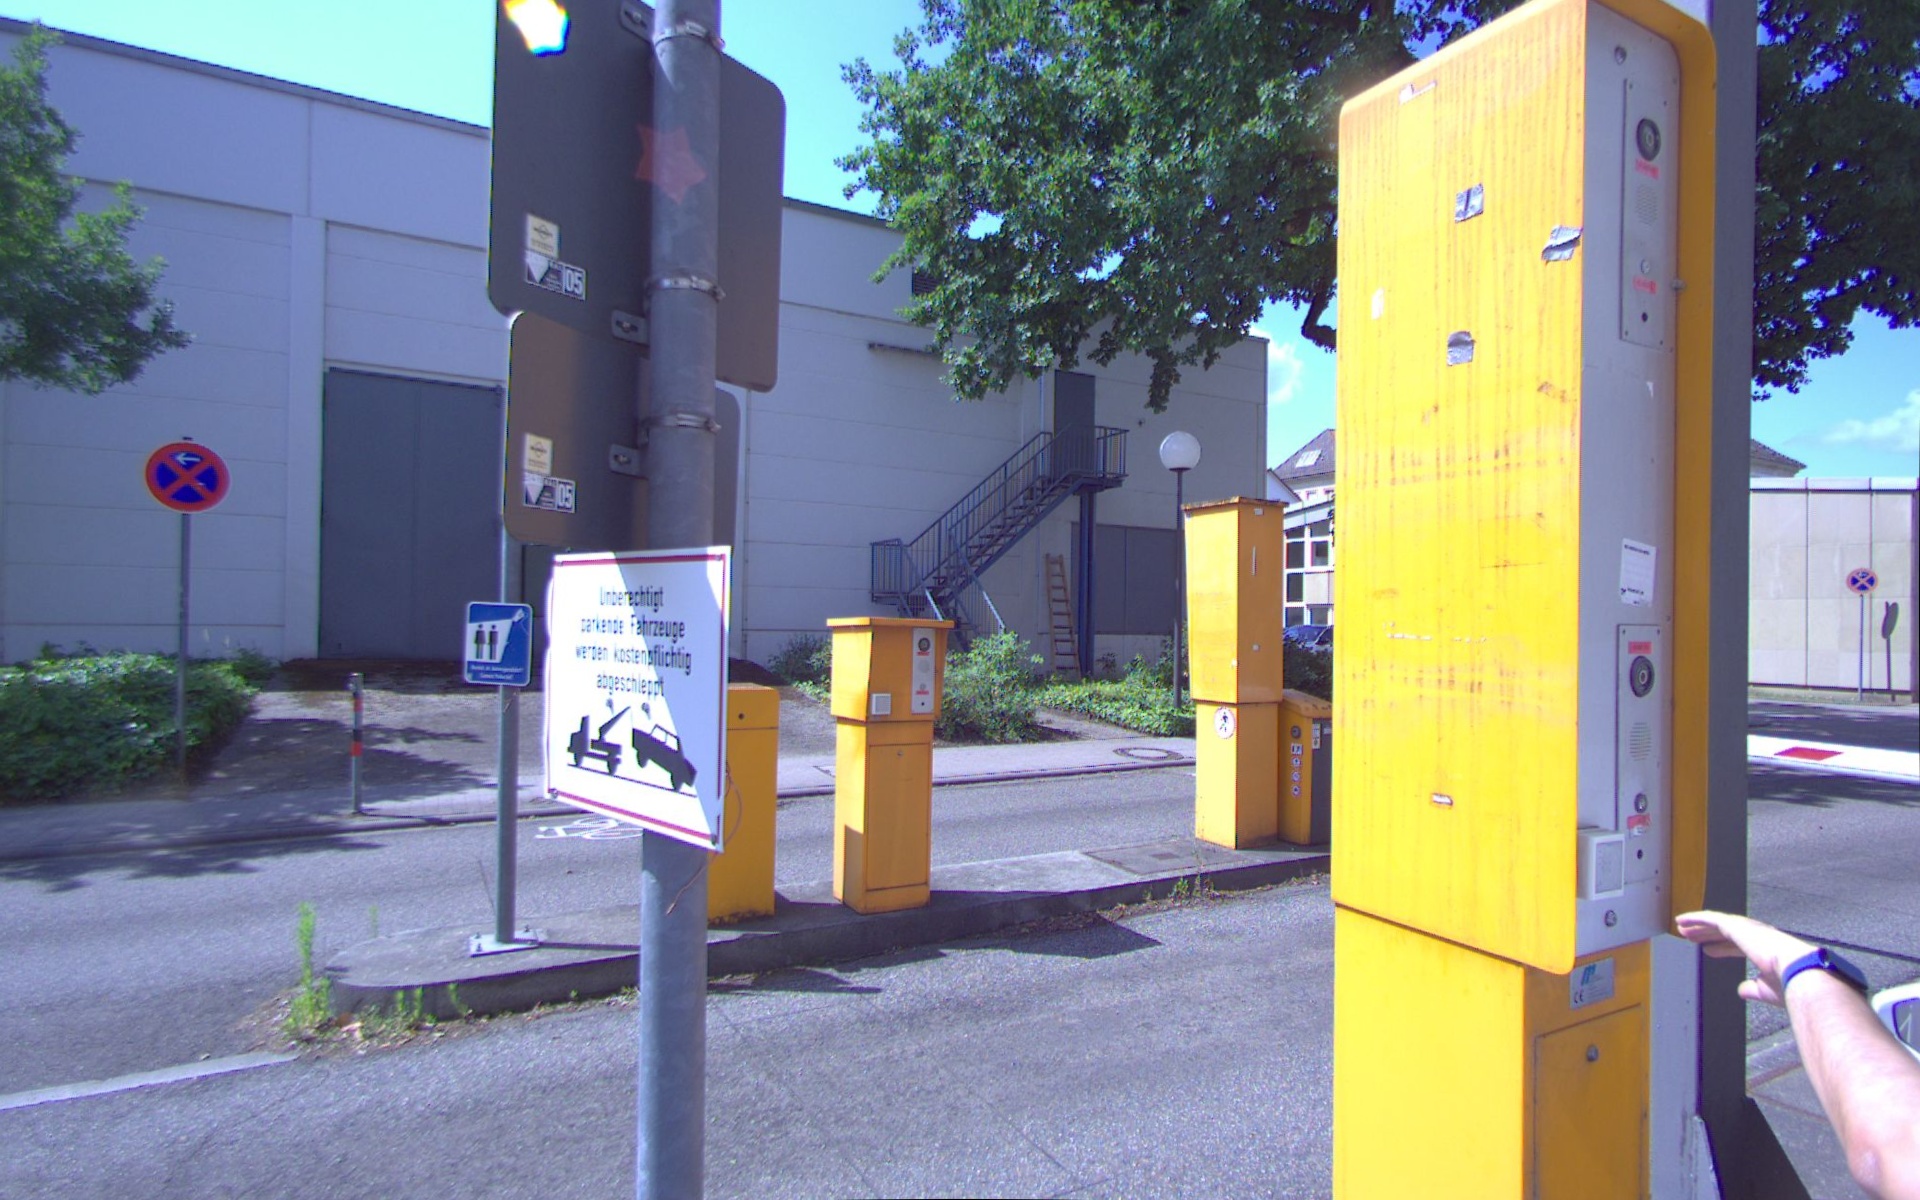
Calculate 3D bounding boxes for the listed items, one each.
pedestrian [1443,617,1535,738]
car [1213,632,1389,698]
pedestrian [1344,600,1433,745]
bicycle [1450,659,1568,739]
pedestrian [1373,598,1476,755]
[{"bbox_3d":[7.325,1.041,13.922,0.796,1.607,0.851,1,-1,-30],"label":"pedestrian"},{"bbox_3d":[8.541,1.572,25.089,4.248,1.486,1.820,1,-1,-30],"label":"car"},{"bbox_3d":[5.663,0.935,13.329,1.038,1.840,0.806,0,-1,20],"label":"pedestrian"},{"bbox_3d":[8.031,1.414,14.665,1.878,1.063,0.642,1,-1,-30],"label":"bicycle"},{"bbox_3d":[5.645,0.900,12.225,0.989,1.833,0.702,1,-1,-30],"label":"pedestrian"}]
